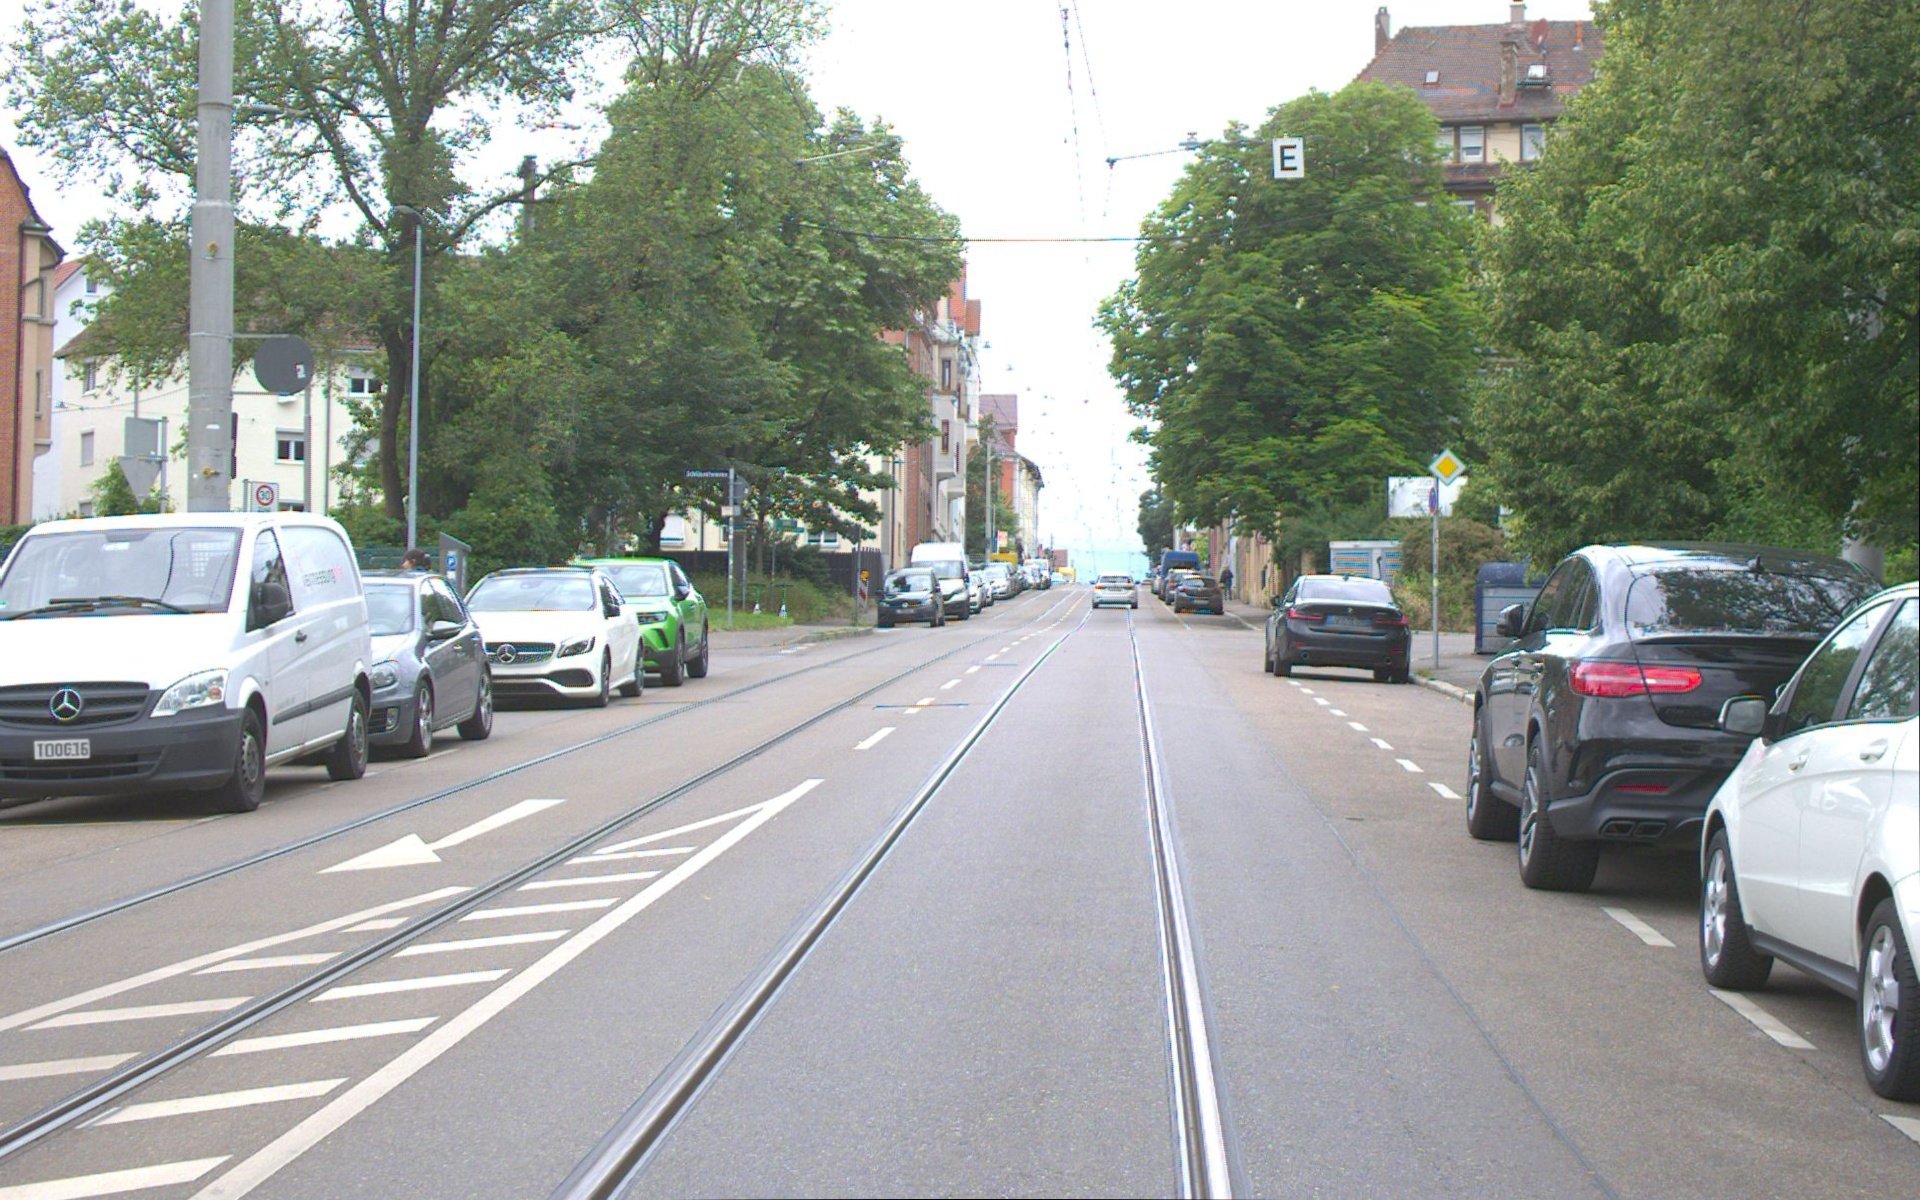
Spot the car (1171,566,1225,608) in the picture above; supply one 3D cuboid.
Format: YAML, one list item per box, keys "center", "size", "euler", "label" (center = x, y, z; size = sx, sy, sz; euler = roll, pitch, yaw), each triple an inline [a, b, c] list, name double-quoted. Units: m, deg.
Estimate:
- center: [9.064, -0.487, 131.019]
  size: [1.994, 1.525, 4.311]
  euler: [1, 0, 4]
  label: "car"

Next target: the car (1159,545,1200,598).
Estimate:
- center: [10.826, -1.385, 169.784]
  size: [1.994, 2.565, 4.704]
  euler: [1, 0, 3]
  label: "car"

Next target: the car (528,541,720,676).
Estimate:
- center: [-4.047, 0.080, 42.009]
  size: [1.723, 1.574, 4.180]
  euler: [0, 1, 3]
  label: "car"

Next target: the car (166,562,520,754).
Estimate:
- center: [-4.955, 0.416, 28.228]
  size: [1.896, 1.428, 4.511]
  euler: [0, 1, 3]
  label: "car"

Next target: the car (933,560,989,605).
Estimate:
- center: [0.040, -0.620, 127.445]
  size: [1.993, 1.595, 4.312]
  euler: [1, 0, 1]
  label: "car"

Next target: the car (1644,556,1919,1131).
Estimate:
- center: [3.635, 0.732, 11.781]
  size: [1.726, 1.626, 4.088]
  euler: [5, 1, 1]
  label: "car"

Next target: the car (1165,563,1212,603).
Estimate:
- center: [10.071, -0.750, 151.611]
  size: [1.994, 1.711, 3.999]
  euler: [1, 0, 3]
  label: "car"

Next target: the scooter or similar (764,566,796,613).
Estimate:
- center: [-5.138, -0.294, 98.062]
  size: [0.691, 1.334, 1.638]
  euler: [1, 0, 4]
  label: "scooter or similar"

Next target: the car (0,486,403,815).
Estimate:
- center: [-5.137, 0.310, 22.453]
  size: [2.036, 1.875, 4.885]
  euler: [-2, 0, 2]
  label: "car"

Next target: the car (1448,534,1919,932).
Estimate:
- center: [3.721, 0.562, 17.731]
  size: [1.877, 1.672, 5.062]
  euler: [3, 1, 3]
  label: "car"

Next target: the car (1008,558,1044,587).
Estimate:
- center: [3.849, -1.593, 200.386]
  size: [1.994, 1.596, 4.000]
  euler: [1, 0, 3]
  label: "car"

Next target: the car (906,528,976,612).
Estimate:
- center: [-0.611, -0.991, 117.150]
  size: [2.230, 2.755, 5.799]
  euler: [1, 0, 1]
  label: "car"

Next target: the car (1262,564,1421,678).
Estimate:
- center: [5.283, 0.265, 48.108]
  size: [1.828, 1.425, 4.847]
  euler: [3, 0, 2]
  label: "car"

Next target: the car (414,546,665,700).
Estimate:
- center: [-4.379, 0.213, 36.492]
  size: [1.885, 1.521, 4.663]
  euler: [0, 0, 3]
  label: "car"

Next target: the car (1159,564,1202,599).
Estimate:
- center: [10.536, -0.868, 164.289]
  size: [1.994, 1.645, 3.999]
  euler: [1, 0, 3]
  label: "car"

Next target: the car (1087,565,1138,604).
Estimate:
- center: [6.191, -0.605, 139.700]
  size: [1.994, 1.493, 4.312]
  euler: [1, 0, 3]
  label: "car"

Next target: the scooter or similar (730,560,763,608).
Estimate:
- center: [-6.086, -0.442, 98.140]
  size: [0.691, 1.334, 1.638]
  euler: [1, 0, 4]
  label: "scooter or similar"

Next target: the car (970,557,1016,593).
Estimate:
- center: [1.573, -1.178, 160.928]
  size: [1.924, 1.596, 3.999]
  euler: [1, 0, 3]
  label: "car"

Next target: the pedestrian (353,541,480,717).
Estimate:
- center: [-5.097, 0.269, 32.224]
  size: [0.805, 1.623, 0.916]
  euler: [2, 0, -36]
  label: "pedestrian"

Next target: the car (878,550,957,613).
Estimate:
- center: [-1.244, -0.530, 102.673]
  size: [1.994, 1.802, 3.999]
  euler: [1, 0, 4]
  label: "car"
